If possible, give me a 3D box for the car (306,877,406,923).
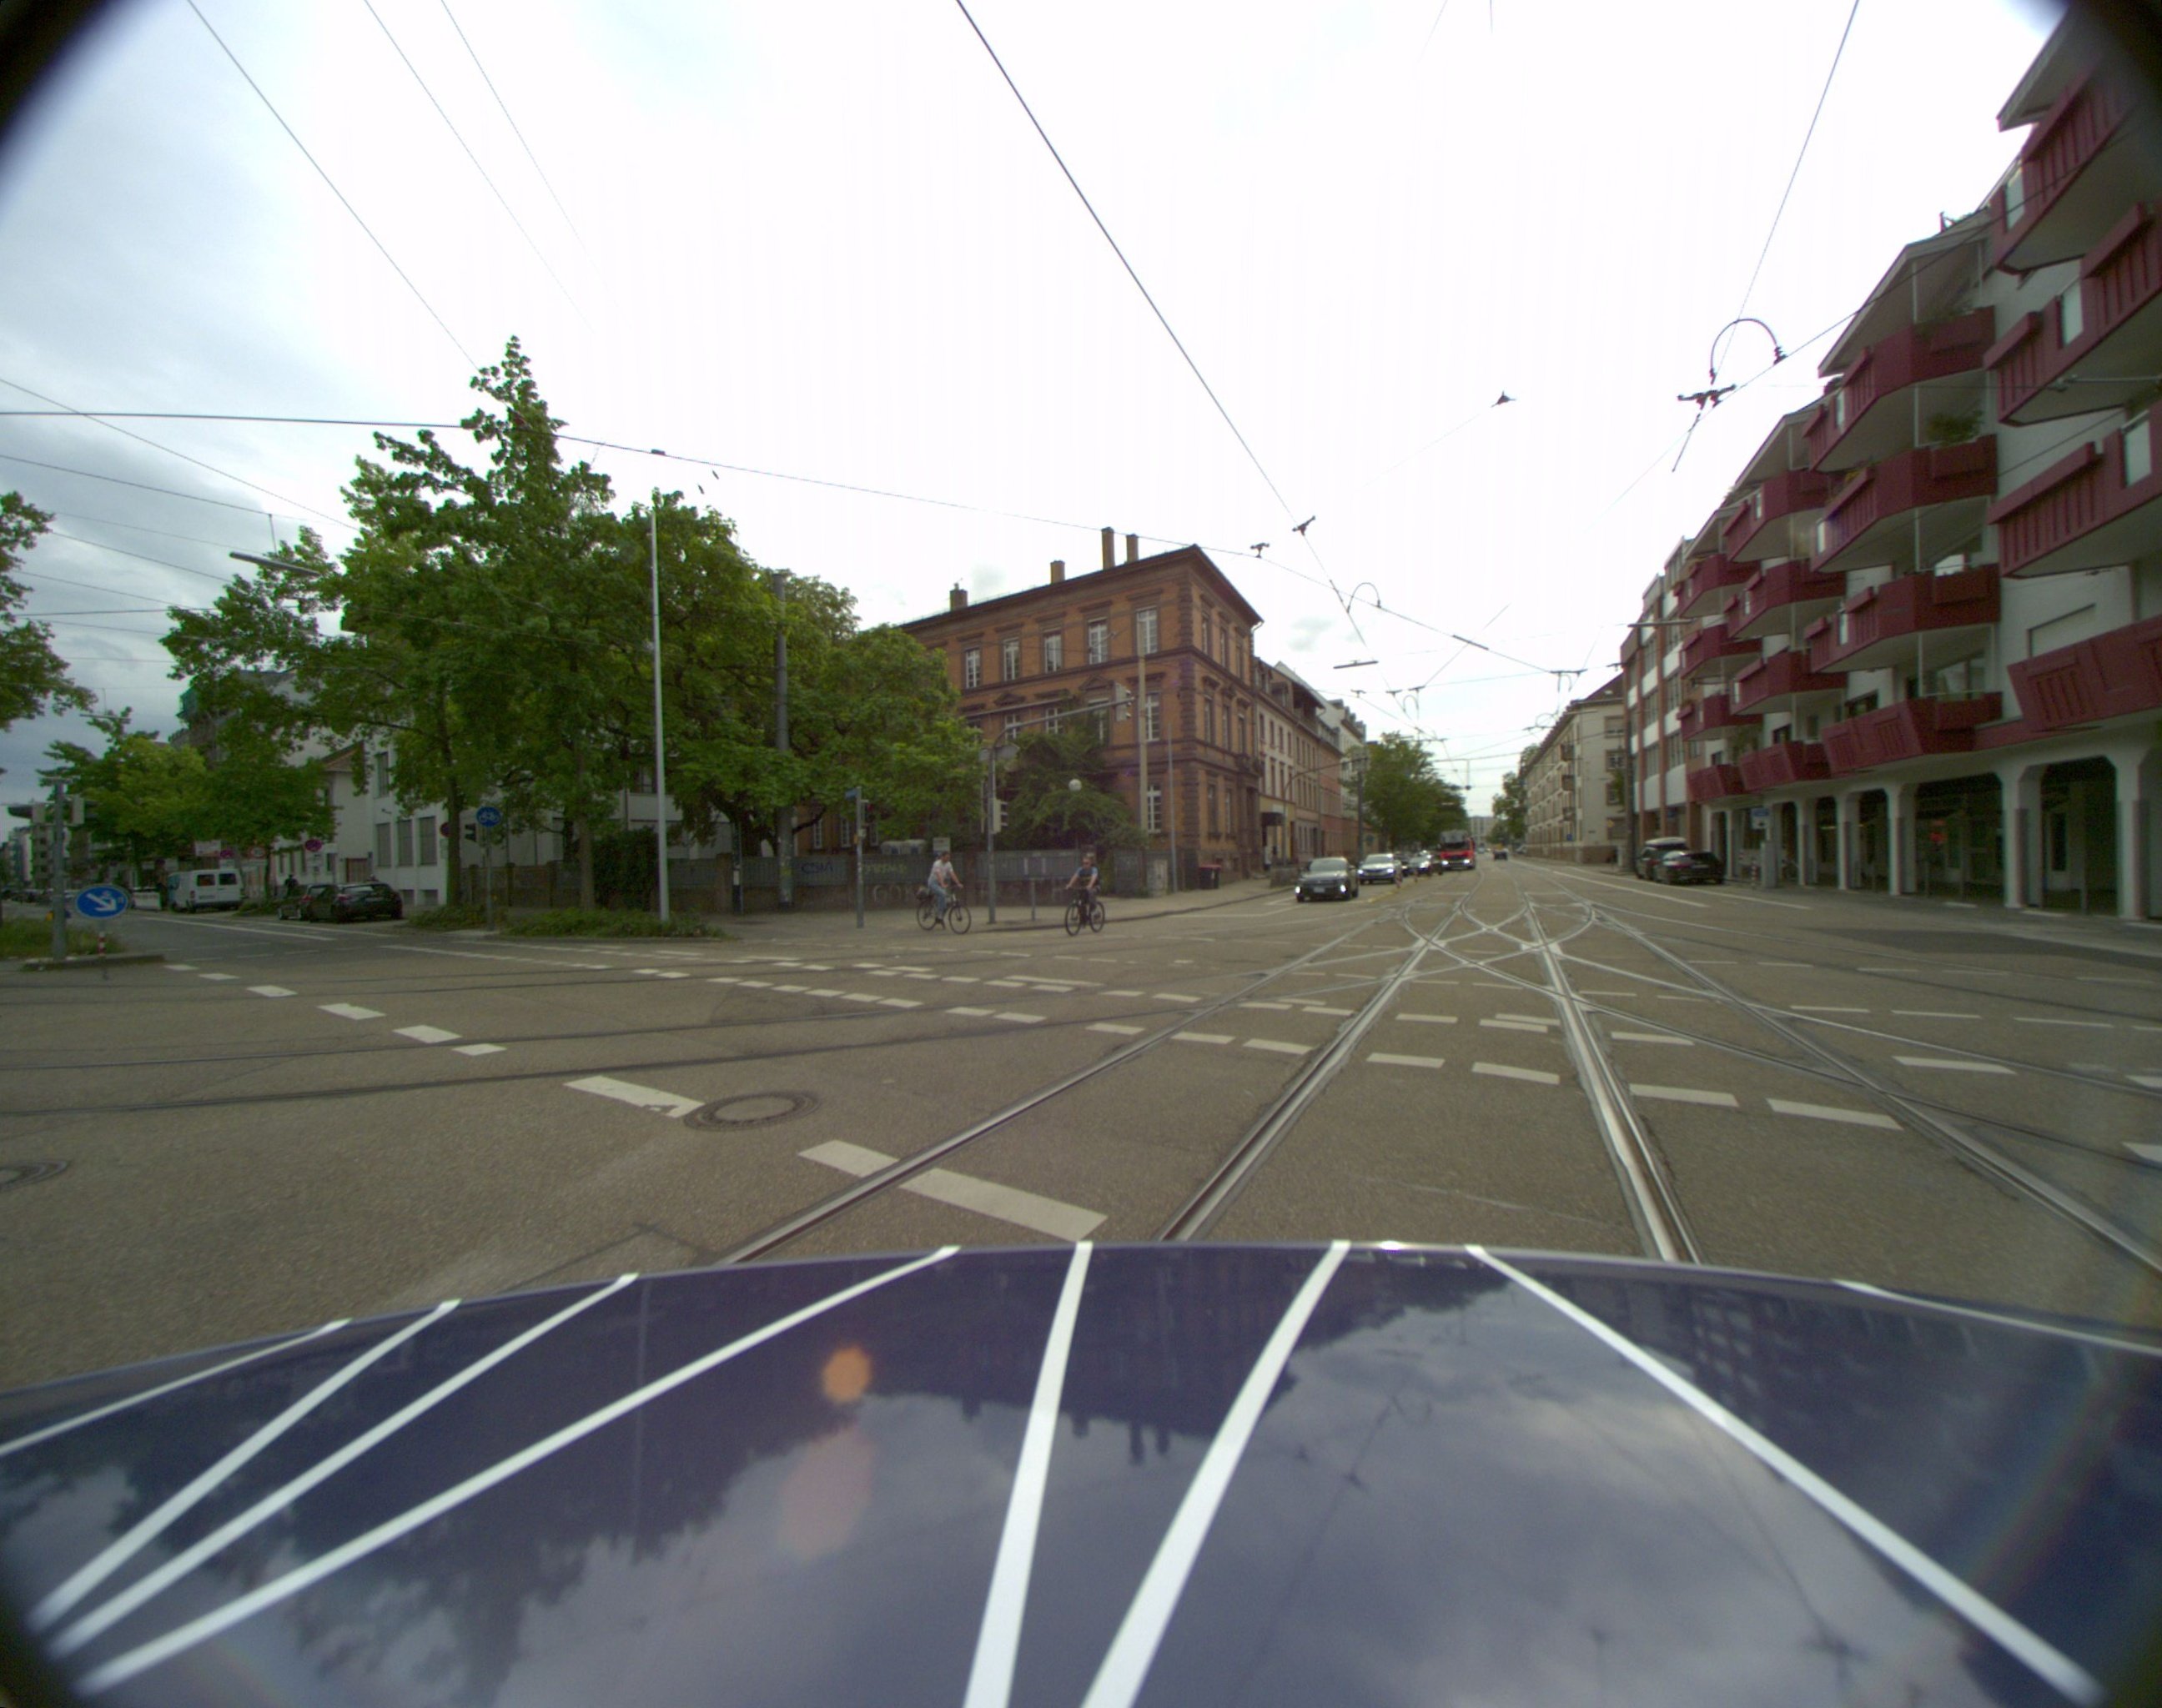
[{"bbox_3d":[-27.072,1.663,28.328,4.408,1.552,1.740,-1,0,34],"label":"car"}]

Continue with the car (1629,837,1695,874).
[{"bbox_3d":[28.809,0.048,37.842,1.808,1.637,4.706,-3,-1,28],"label":"car"}]

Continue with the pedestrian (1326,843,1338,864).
[{"bbox_3d":[20.649,-0.073,62.601,0.731,1.679,0.928,3,3,28],"label":"pedestrian"}]

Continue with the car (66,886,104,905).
[{"bbox_3d":[-103.766,4.332,79.142,4.408,1.797,2.102,-1,0,34],"label":"car"}]

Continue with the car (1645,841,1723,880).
[{"bbox_3d":[25.973,0.241,32.870,1.756,1.471,4.706,-3,-1,28],"label":"car"}]

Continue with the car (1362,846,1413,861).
[{"bbox_3d":[30.097,-0.089,74.649,4.340,1.471,1.790,0,1,4],"label":"car"}]

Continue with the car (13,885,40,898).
[{"bbox_3d":[-157.290,5.584,113.318,4.408,1.855,2.102,-1,0,34],"label":"car"}]

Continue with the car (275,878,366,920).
[{"bbox_3d":[-31.203,1.800,31.153,4.408,1.527,1.764,-1,0,34],"label":"car"}]

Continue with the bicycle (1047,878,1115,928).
[{"bbox_3d":[0.025,1.022,16.431,0.713,1.012,1.804,-1,-2,27],"label":"bicycle"}]

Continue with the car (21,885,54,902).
[{"bbox_3d":[-122.967,4.604,89.528,4.408,1.855,2.102,-1,0,34],"label":"car"}]

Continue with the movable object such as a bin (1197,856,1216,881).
[{"bbox_3d":[5.645,0.642,34.213,0.651,1.076,0.679,3,3,25],"label":"movable object such as a bin"}]

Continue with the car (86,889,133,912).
[{"bbox_3d":[-83.591,3.960,65.354,4.408,1.797,2.102,-1,0,34],"label":"car"}]

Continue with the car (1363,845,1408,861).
[{"bbox_3d":[32.627,-0.162,81.483,4.235,1.688,1.740,0,1,4],"label":"car"}]

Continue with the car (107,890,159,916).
[{"bbox_3d":[-73.441,3.729,58.880,4.408,1.797,2.102,-1,0,34],"label":"car"}]

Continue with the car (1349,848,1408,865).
[{"bbox_3d":[26.793,0.195,68.447,4.623,1.464,1.790,0,1,4],"label":"car"}]

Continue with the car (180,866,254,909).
[{"bbox_3d":[-47.737,1.801,41.968,4.408,2.177,2.102,-1,0,34],"label":"car"}]

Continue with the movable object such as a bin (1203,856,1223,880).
[{"bbox_3d":[6.049,0.635,34.808,0.663,1.076,0.702,3,3,25],"label":"movable object such as a bin"}]

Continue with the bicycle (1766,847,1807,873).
[{"bbox_3d":[26.831,0.208,28.913,0.564,0.948,1.652,-1,0,21],"label":"bicycle"}]

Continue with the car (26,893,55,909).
[{"bbox_3d":[-135.143,6.073,98.680,4.408,1.855,2.102,-1,0,35],"label":"car"}]

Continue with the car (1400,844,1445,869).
[{"bbox_3d":[22.898,0.170,50.816,1.770,1.526,4.057,-3,0,38],"label":"car"}]

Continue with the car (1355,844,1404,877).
[{"bbox_3d":[16.260,0.324,41.222,1.770,1.581,4.290,-3,0,30],"label":"car"}]

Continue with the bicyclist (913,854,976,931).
[{"bbox_3d":[-3.235,0.887,17.990,1.249,1.750,0.749,-1,1,34],"label":"bicyclist"}]

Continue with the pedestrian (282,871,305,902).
[{"bbox_3d":[-47.009,1.932,45.350,0.764,1.771,0.770,-1,1,35],"label":"pedestrian"}]

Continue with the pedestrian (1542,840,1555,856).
[{"bbox_3d":[56.844,-0.736,92.341,0.999,1.831,1.020,-1,1,11],"label":"pedestrian"}]

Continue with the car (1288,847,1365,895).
[{"bbox_3d":[8.969,0.568,27.536,1.770,1.538,4.290,-3,0,29],"label":"car"}]

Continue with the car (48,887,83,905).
[{"bbox_3d":[-114.003,4.711,85.301,4.408,1.797,2.102,-1,0,34],"label":"car"}]

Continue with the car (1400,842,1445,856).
[{"bbox_3d":[41.148,-0.622,91.566,4.623,1.688,1.917,0,1,4],"label":"car"}]

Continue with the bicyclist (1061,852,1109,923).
[{"bbox_3d":[0.094,0.722,16.585,0.714,1.498,0.920,-1,-1,27],"label":"bicyclist"}]

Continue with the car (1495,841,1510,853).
[{"bbox_3d":[59.810,-0.988,107.871,1.770,1.528,4.056,-3,0,29],"label":"car"}]

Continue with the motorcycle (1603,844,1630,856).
[{"bbox_3d":[49.514,-0.345,70.270,1.921,1.080,0.794,-1,1,28],"label":"motorcycle"}]

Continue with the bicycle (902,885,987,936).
[{"bbox_3d":[-3.250,1.314,18.018,2.010,1.080,0.752,-1,1,35],"label":"bicycle"}]

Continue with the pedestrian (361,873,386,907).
[{"bbox_3d":[-35.934,1.821,38.583,0.764,1.641,0.770,0,1,36],"label":"pedestrian"}]

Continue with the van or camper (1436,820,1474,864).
[{"bbox_3d":[31.743,-0.957,64.259,2.602,3.401,9.669,-1,0,28],"label":"van or camper"}]
